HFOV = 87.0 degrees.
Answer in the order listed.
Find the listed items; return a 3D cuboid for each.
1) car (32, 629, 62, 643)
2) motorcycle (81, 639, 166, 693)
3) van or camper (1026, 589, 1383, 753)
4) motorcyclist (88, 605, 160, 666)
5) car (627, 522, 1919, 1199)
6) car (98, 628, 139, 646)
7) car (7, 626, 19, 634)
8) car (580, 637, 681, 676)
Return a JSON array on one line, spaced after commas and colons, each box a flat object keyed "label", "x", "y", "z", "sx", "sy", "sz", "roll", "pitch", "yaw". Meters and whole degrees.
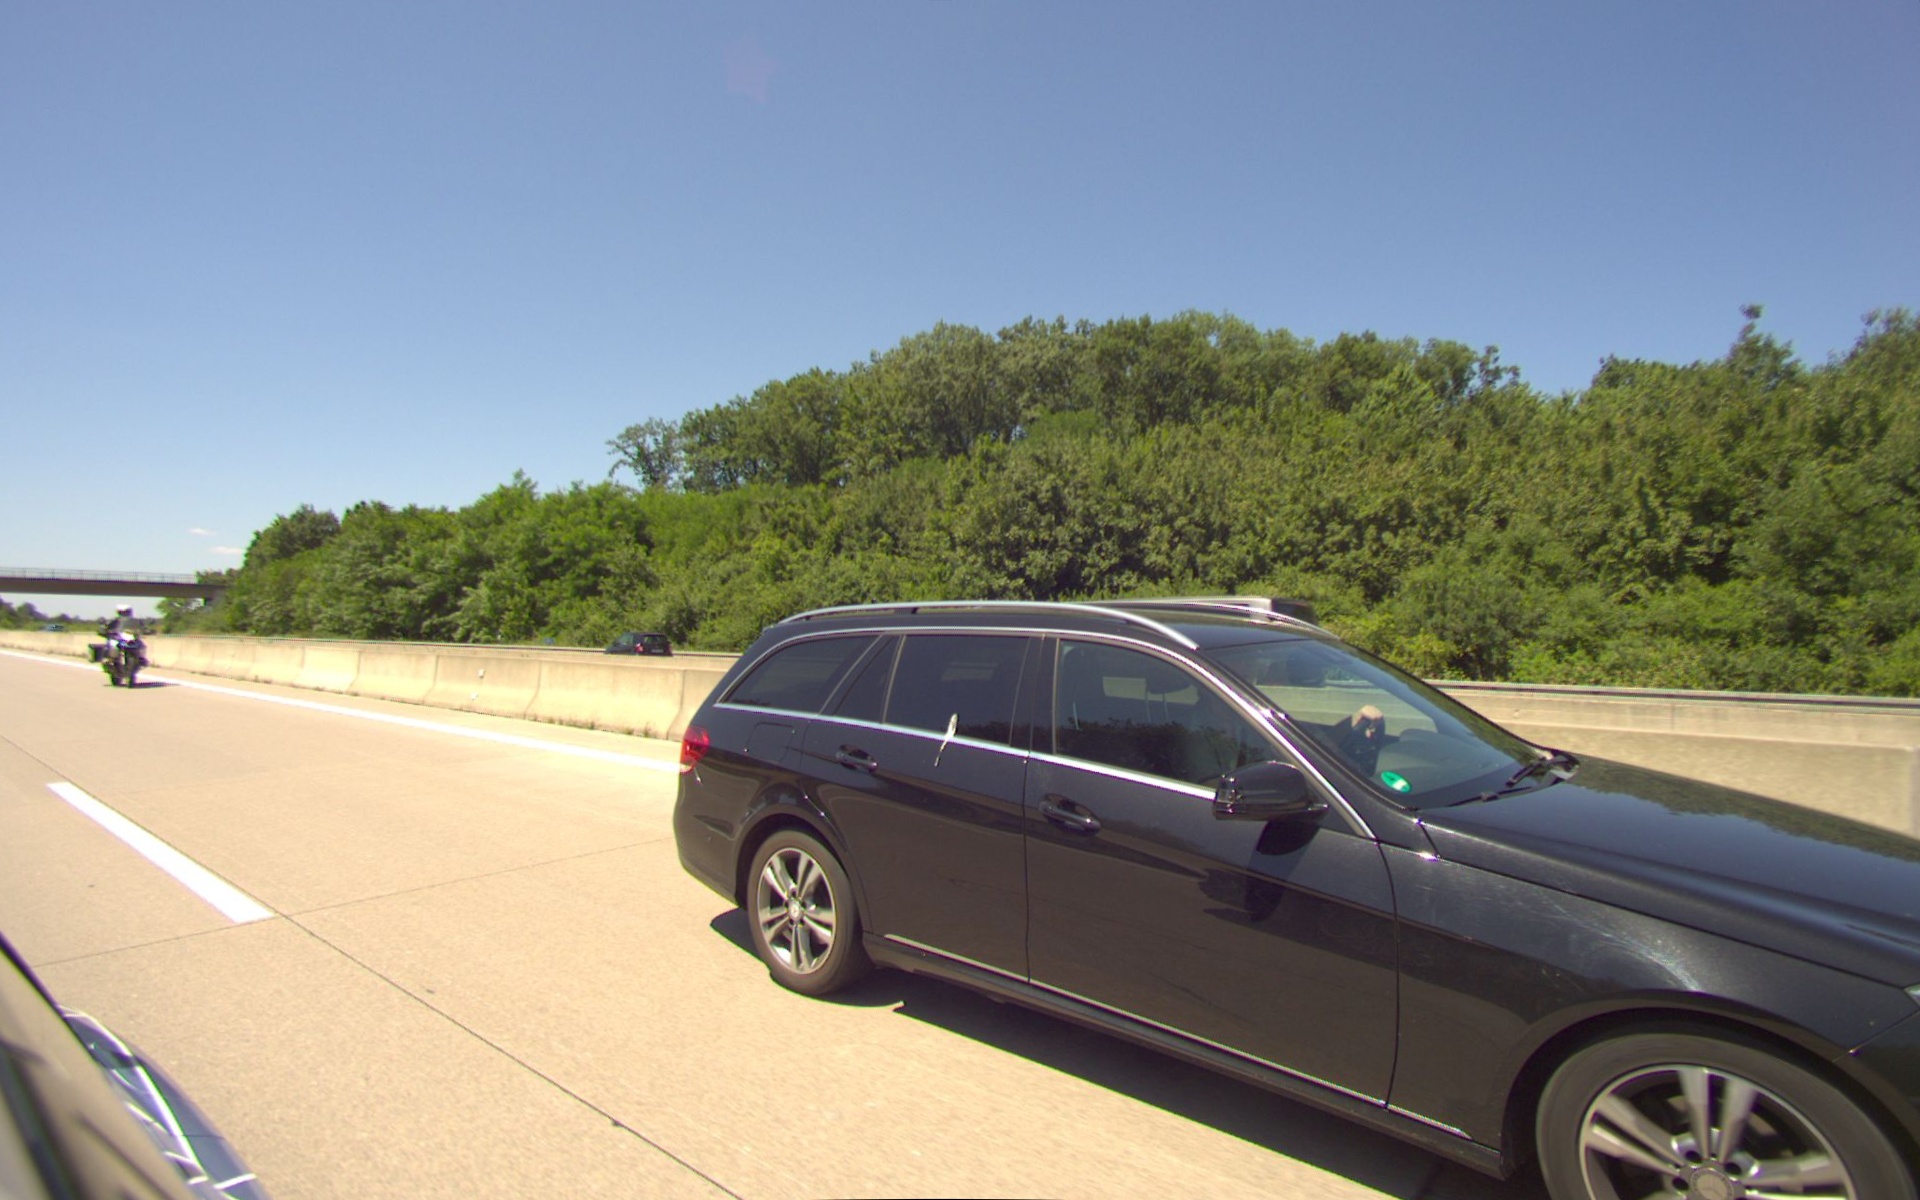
[{"label": "car", "x": -94.020, "y": 3.711, "z": 104.215, "sx": 4.504, "sy": 1.396, "sz": 1.692, "roll": -1, "pitch": -2, "yaw": 40}, {"label": "motorcycle", "x": -17.422, "y": 1.345, "z": 21.061, "sx": 2.412, "sy": 1.057, "sz": 1.010, "roll": -2, "pitch": -2, "yaw": 42}, {"label": "van or camper", "x": 3.219, "y": 0.869, "z": 13.870, "sx": 4.414, "sy": 1.896, "sz": 1.828, "roll": -1, "pitch": -2, "yaw": 40}, {"label": "motorcyclist", "x": -17.390, "y": 0.741, "z": 21.057, "sx": 0.911, "sy": 1.218, "sz": 1.014, "roll": -2, "pitch": -3, "yaw": 41}, {"label": "car", "x": 1.230, "y": 0.661, "z": 3.371, "sx": 5.600, "sy": 1.484, "sz": 1.871, "roll": -2, "pitch": -2, "yaw": 41}, {"label": "car", "x": -66.037, "y": 2.904, "z": 79.396, "sx": 4.856, "sy": 1.325, "sz": 1.659, "roll": -1, "pitch": -2, "yaw": 40}, {"label": "car", "x": -180.083, "y": 5.663, "z": 192.368, "sx": 3.101, "sy": 1.595, "sz": 1.383, "roll": -1, "pitch": -2, "yaw": 42}, {"label": "car", "x": -12.555, "y": 2.114, "z": 38.460, "sx": 3.999, "sy": 1.386, "sz": 1.907, "roll": -1, "pitch": -2, "yaw": 42}]
